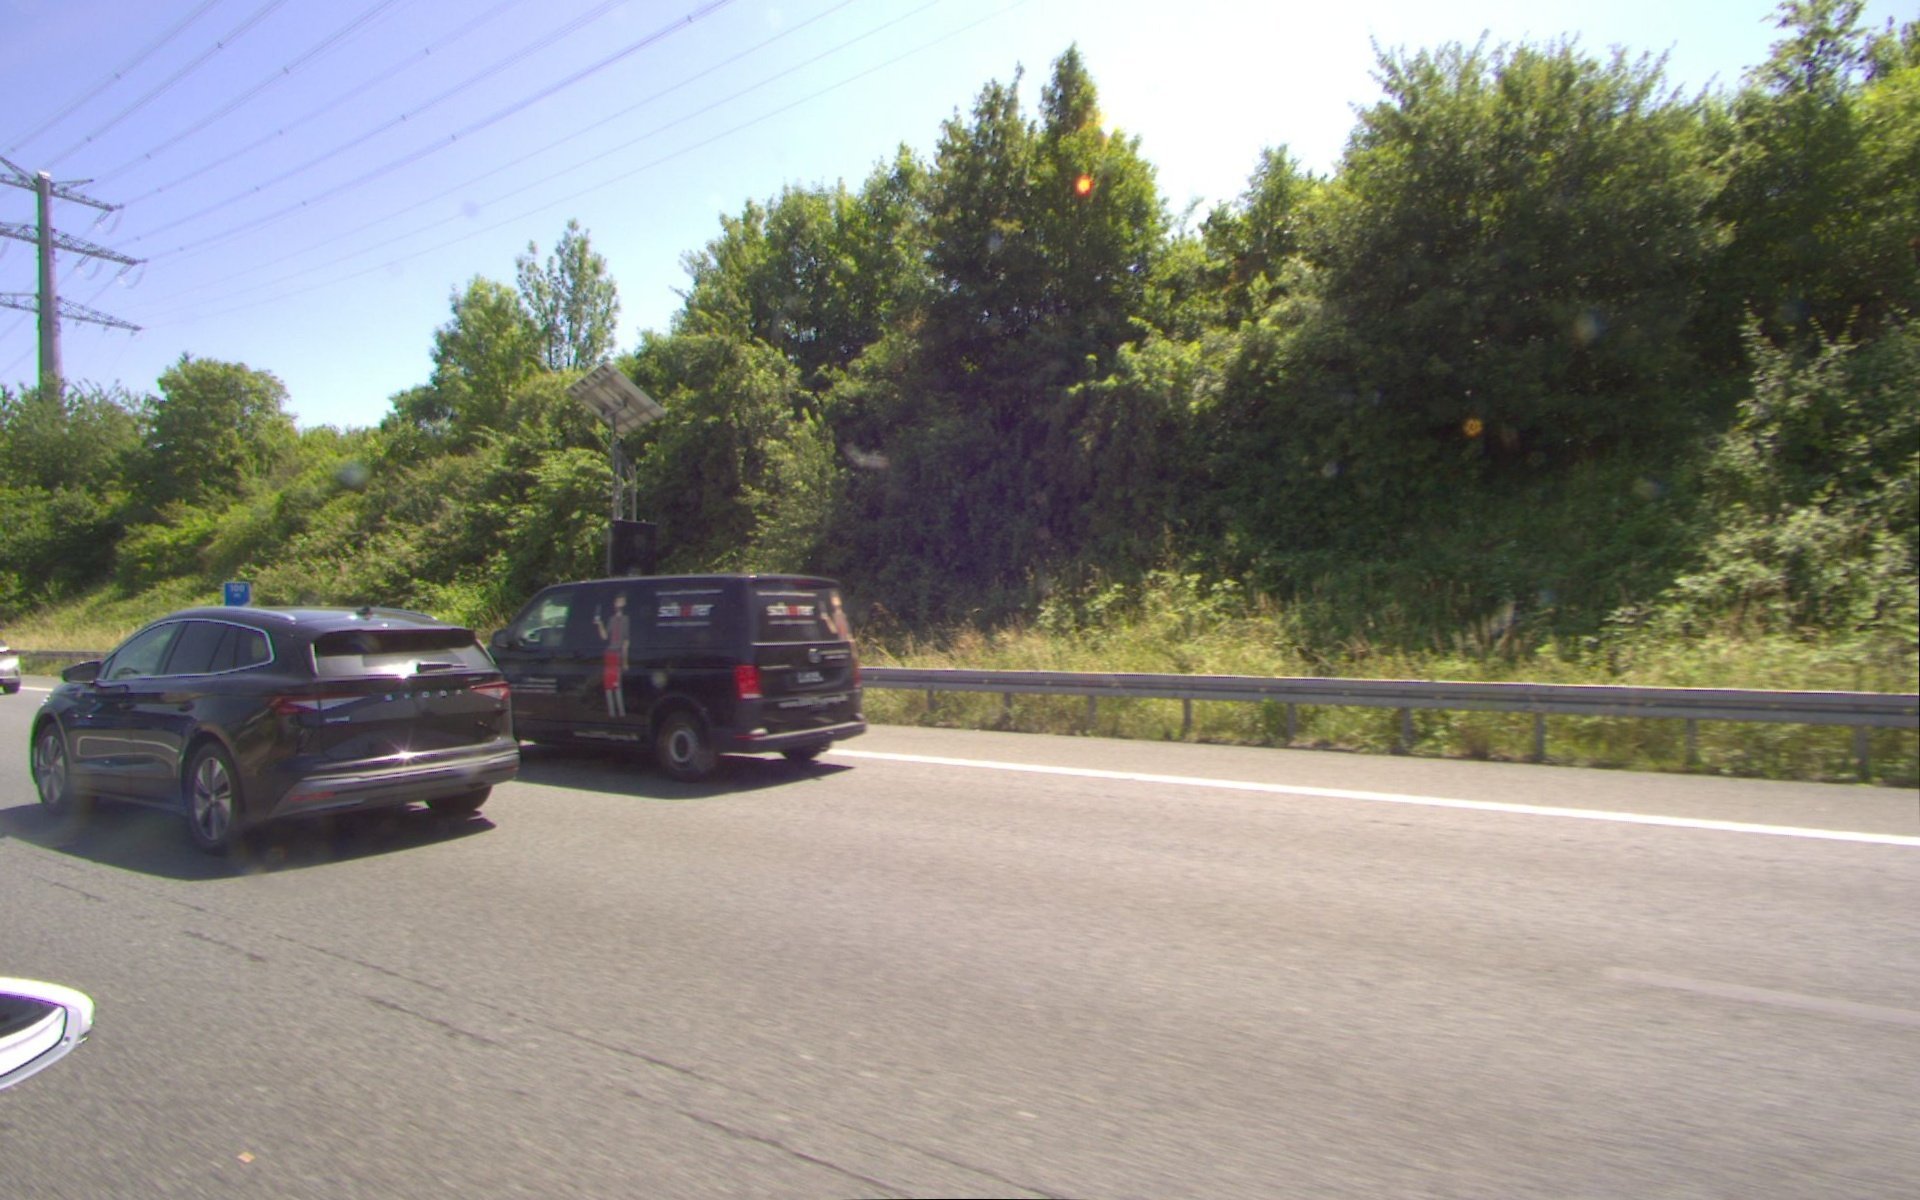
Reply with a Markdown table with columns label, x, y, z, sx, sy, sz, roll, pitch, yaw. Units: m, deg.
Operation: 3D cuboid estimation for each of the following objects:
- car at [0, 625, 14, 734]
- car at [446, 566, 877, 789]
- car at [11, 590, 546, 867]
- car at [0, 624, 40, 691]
| label | x | y | z | sx | sy | sz | roll | pitch | yaw |
| --- | --- | --- | --- | --- | --- | --- | --- | --- | --- |
| car | -15.030 | 1.067 | 13.742 | 4.318 | 1.455 | 1.819 | -1 | -2 | 30 |
| car | -3.268 | 0.726 | 10.653 | 4.630 | 1.929 | 1.781 | -1 | -2 | 32 |
| car | -5.421 | 0.821 | 7.830 | 4.366 | 1.635 | 1.825 | -1 | -1 | 31 |
| car | -23.064 | 1.300 | 23.090 | 3.956 | 1.489 | 1.738 | -1 | -1 | 32 |
